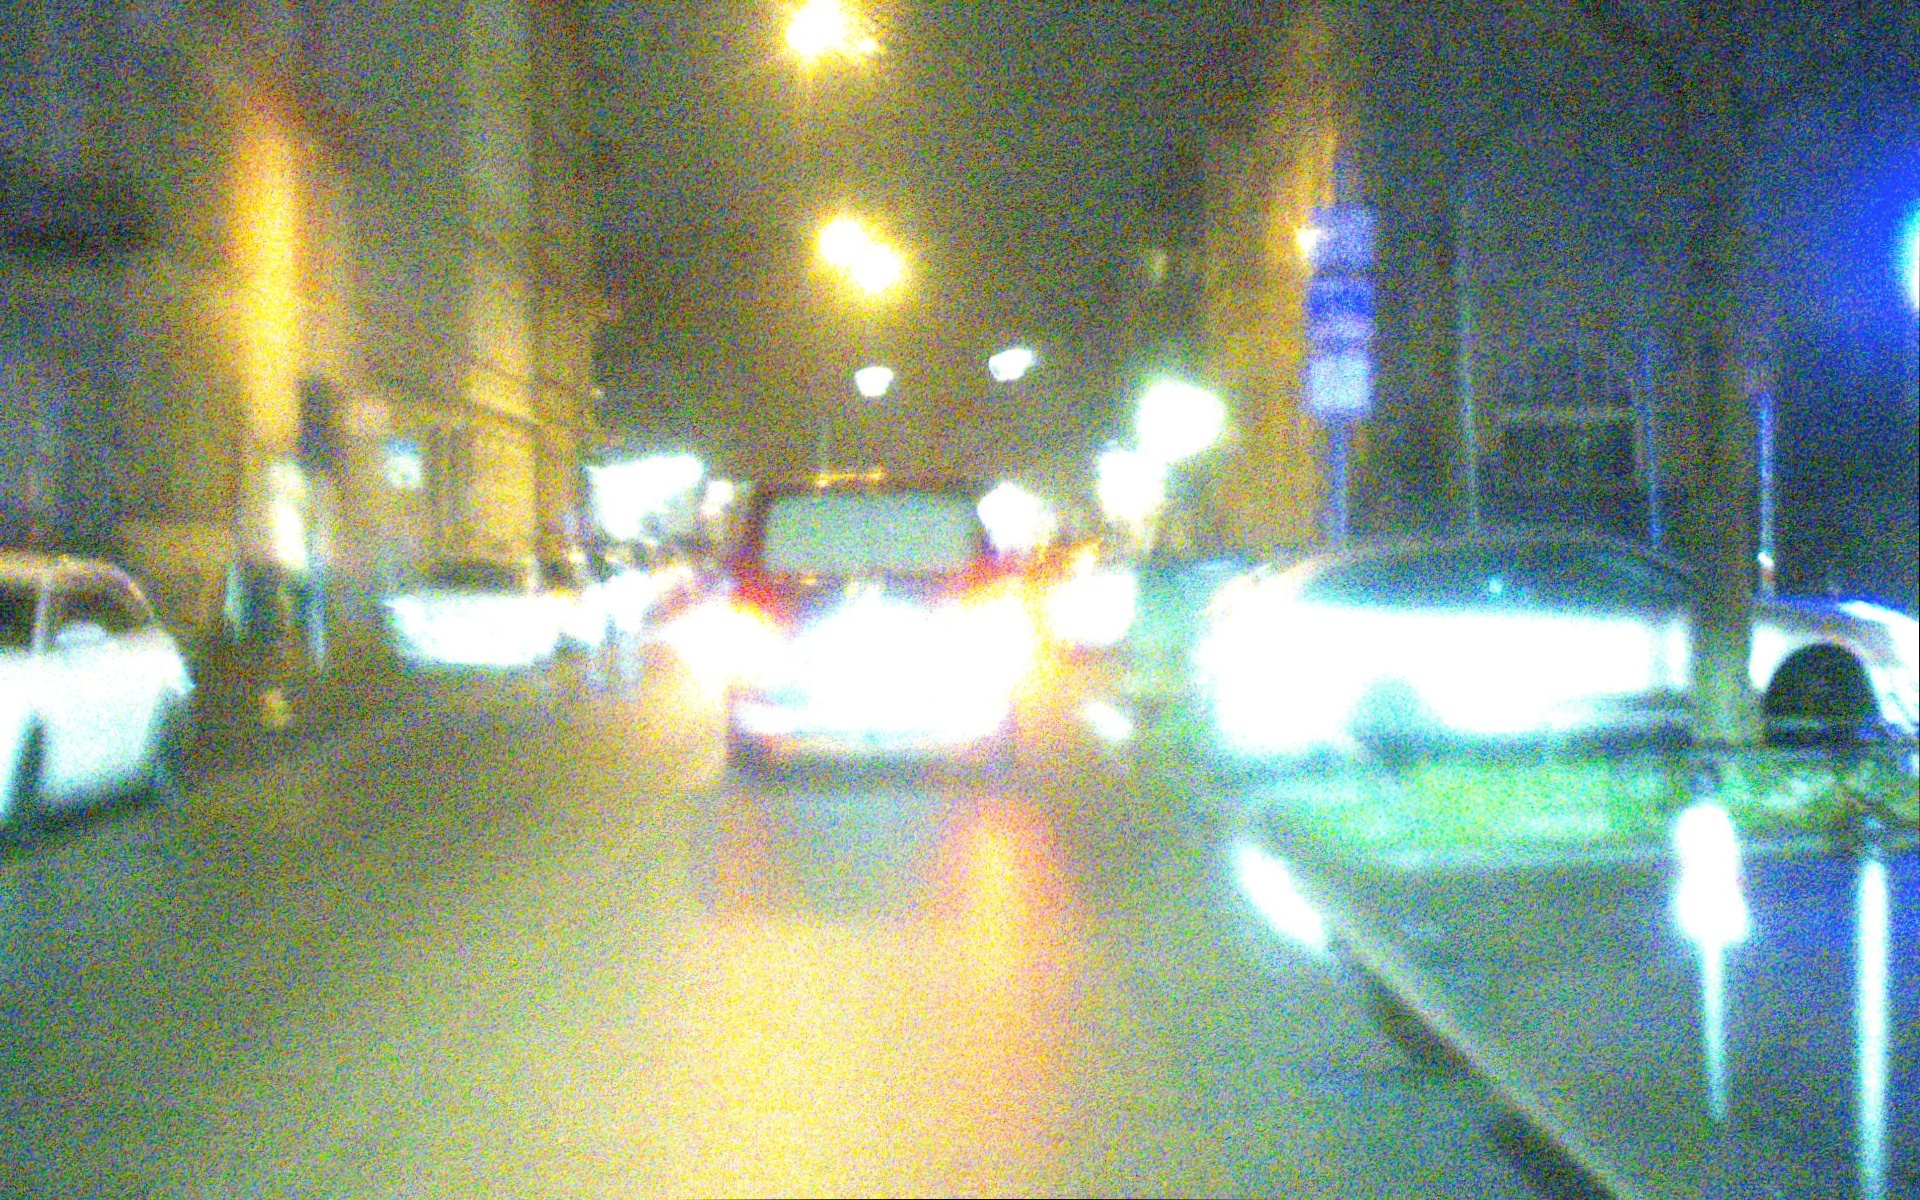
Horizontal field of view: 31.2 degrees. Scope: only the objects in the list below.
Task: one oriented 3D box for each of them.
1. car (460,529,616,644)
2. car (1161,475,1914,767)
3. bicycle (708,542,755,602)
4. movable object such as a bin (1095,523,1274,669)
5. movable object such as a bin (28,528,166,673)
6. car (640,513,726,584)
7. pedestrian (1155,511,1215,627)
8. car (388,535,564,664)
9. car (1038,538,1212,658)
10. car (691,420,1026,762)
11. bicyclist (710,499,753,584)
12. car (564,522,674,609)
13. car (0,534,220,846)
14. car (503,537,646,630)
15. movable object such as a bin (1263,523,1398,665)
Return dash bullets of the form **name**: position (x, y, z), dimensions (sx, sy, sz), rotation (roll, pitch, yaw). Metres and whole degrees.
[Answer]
- **car**: position (-6.025, -0.229, 49.492), dimensions (1.774, 1.567, 4.135), rotation (-1, 1, -1)
- **car**: position (3.679, 0.114, 22.455), dimensions (4.512, 1.525, 1.780), rotation (-4, 1, -1)
- **bicycle**: position (-4.238, -0.537, 63.918), dimensions (0.727, 1.069, 2.348), rotation (-1, 1, -1)
- **movable object such as a bin**: position (2.266, -0.054, 34.791), dimensions (1.337, 1.424, 1.201), rotation (-1, 1, -37)
- **movable object such as a bin**: position (-8.972, -0.010, 35.786), dimensions (1.101, 1.449, 1.379), rotation (-1, 1, -3)
- **car**: position (-6.852, -1.300, 85.397), dimensions (1.832, 1.711, 4.595), rotation (0, 1, -1)
- **pedestrian**: position (3.591, -0.500, 54.859), dimensions (0.862, 1.782, 1.083), rotation (-2, 2, 3)
- **car**: position (-5.872, -0.042, 42.042), dimensions (1.672, 1.486, 3.722), rotation (1, 1, -1)
- **car**: position (2.115, -0.066, 45.207), dimensions (1.993, 1.459, 4.417), rotation (-1, 1, -1)
- **car**: position (-0.617, -0.109, 22.998), dimensions (1.996, 2.042, 4.694), rotation (0, 1, 0)
- **bicyclist**: position (-4.245, -1.090, 63.927), dimensions (0.718, 1.551, 0.895), rotation (-1, 1, -1)
- **car**: position (-6.436, -0.677, 65.111), dimensions (1.745, 1.583, 3.766), rotation (0, 1, -1)
- **car**: position (-5.646, 0.396, 19.577), dimensions (1.767, 1.478, 4.772), rotation (3, 1, 0)
- **car**: position (-6.104, -0.290, 54.866), dimensions (1.822, 1.385, 4.426), rotation (-1, 1, -1)
- **movable object such as a bin**: position (3.801, -0.071, 35.200), dimensions (1.309, 1.424, 1.050), rotation (0, 1, 9)
